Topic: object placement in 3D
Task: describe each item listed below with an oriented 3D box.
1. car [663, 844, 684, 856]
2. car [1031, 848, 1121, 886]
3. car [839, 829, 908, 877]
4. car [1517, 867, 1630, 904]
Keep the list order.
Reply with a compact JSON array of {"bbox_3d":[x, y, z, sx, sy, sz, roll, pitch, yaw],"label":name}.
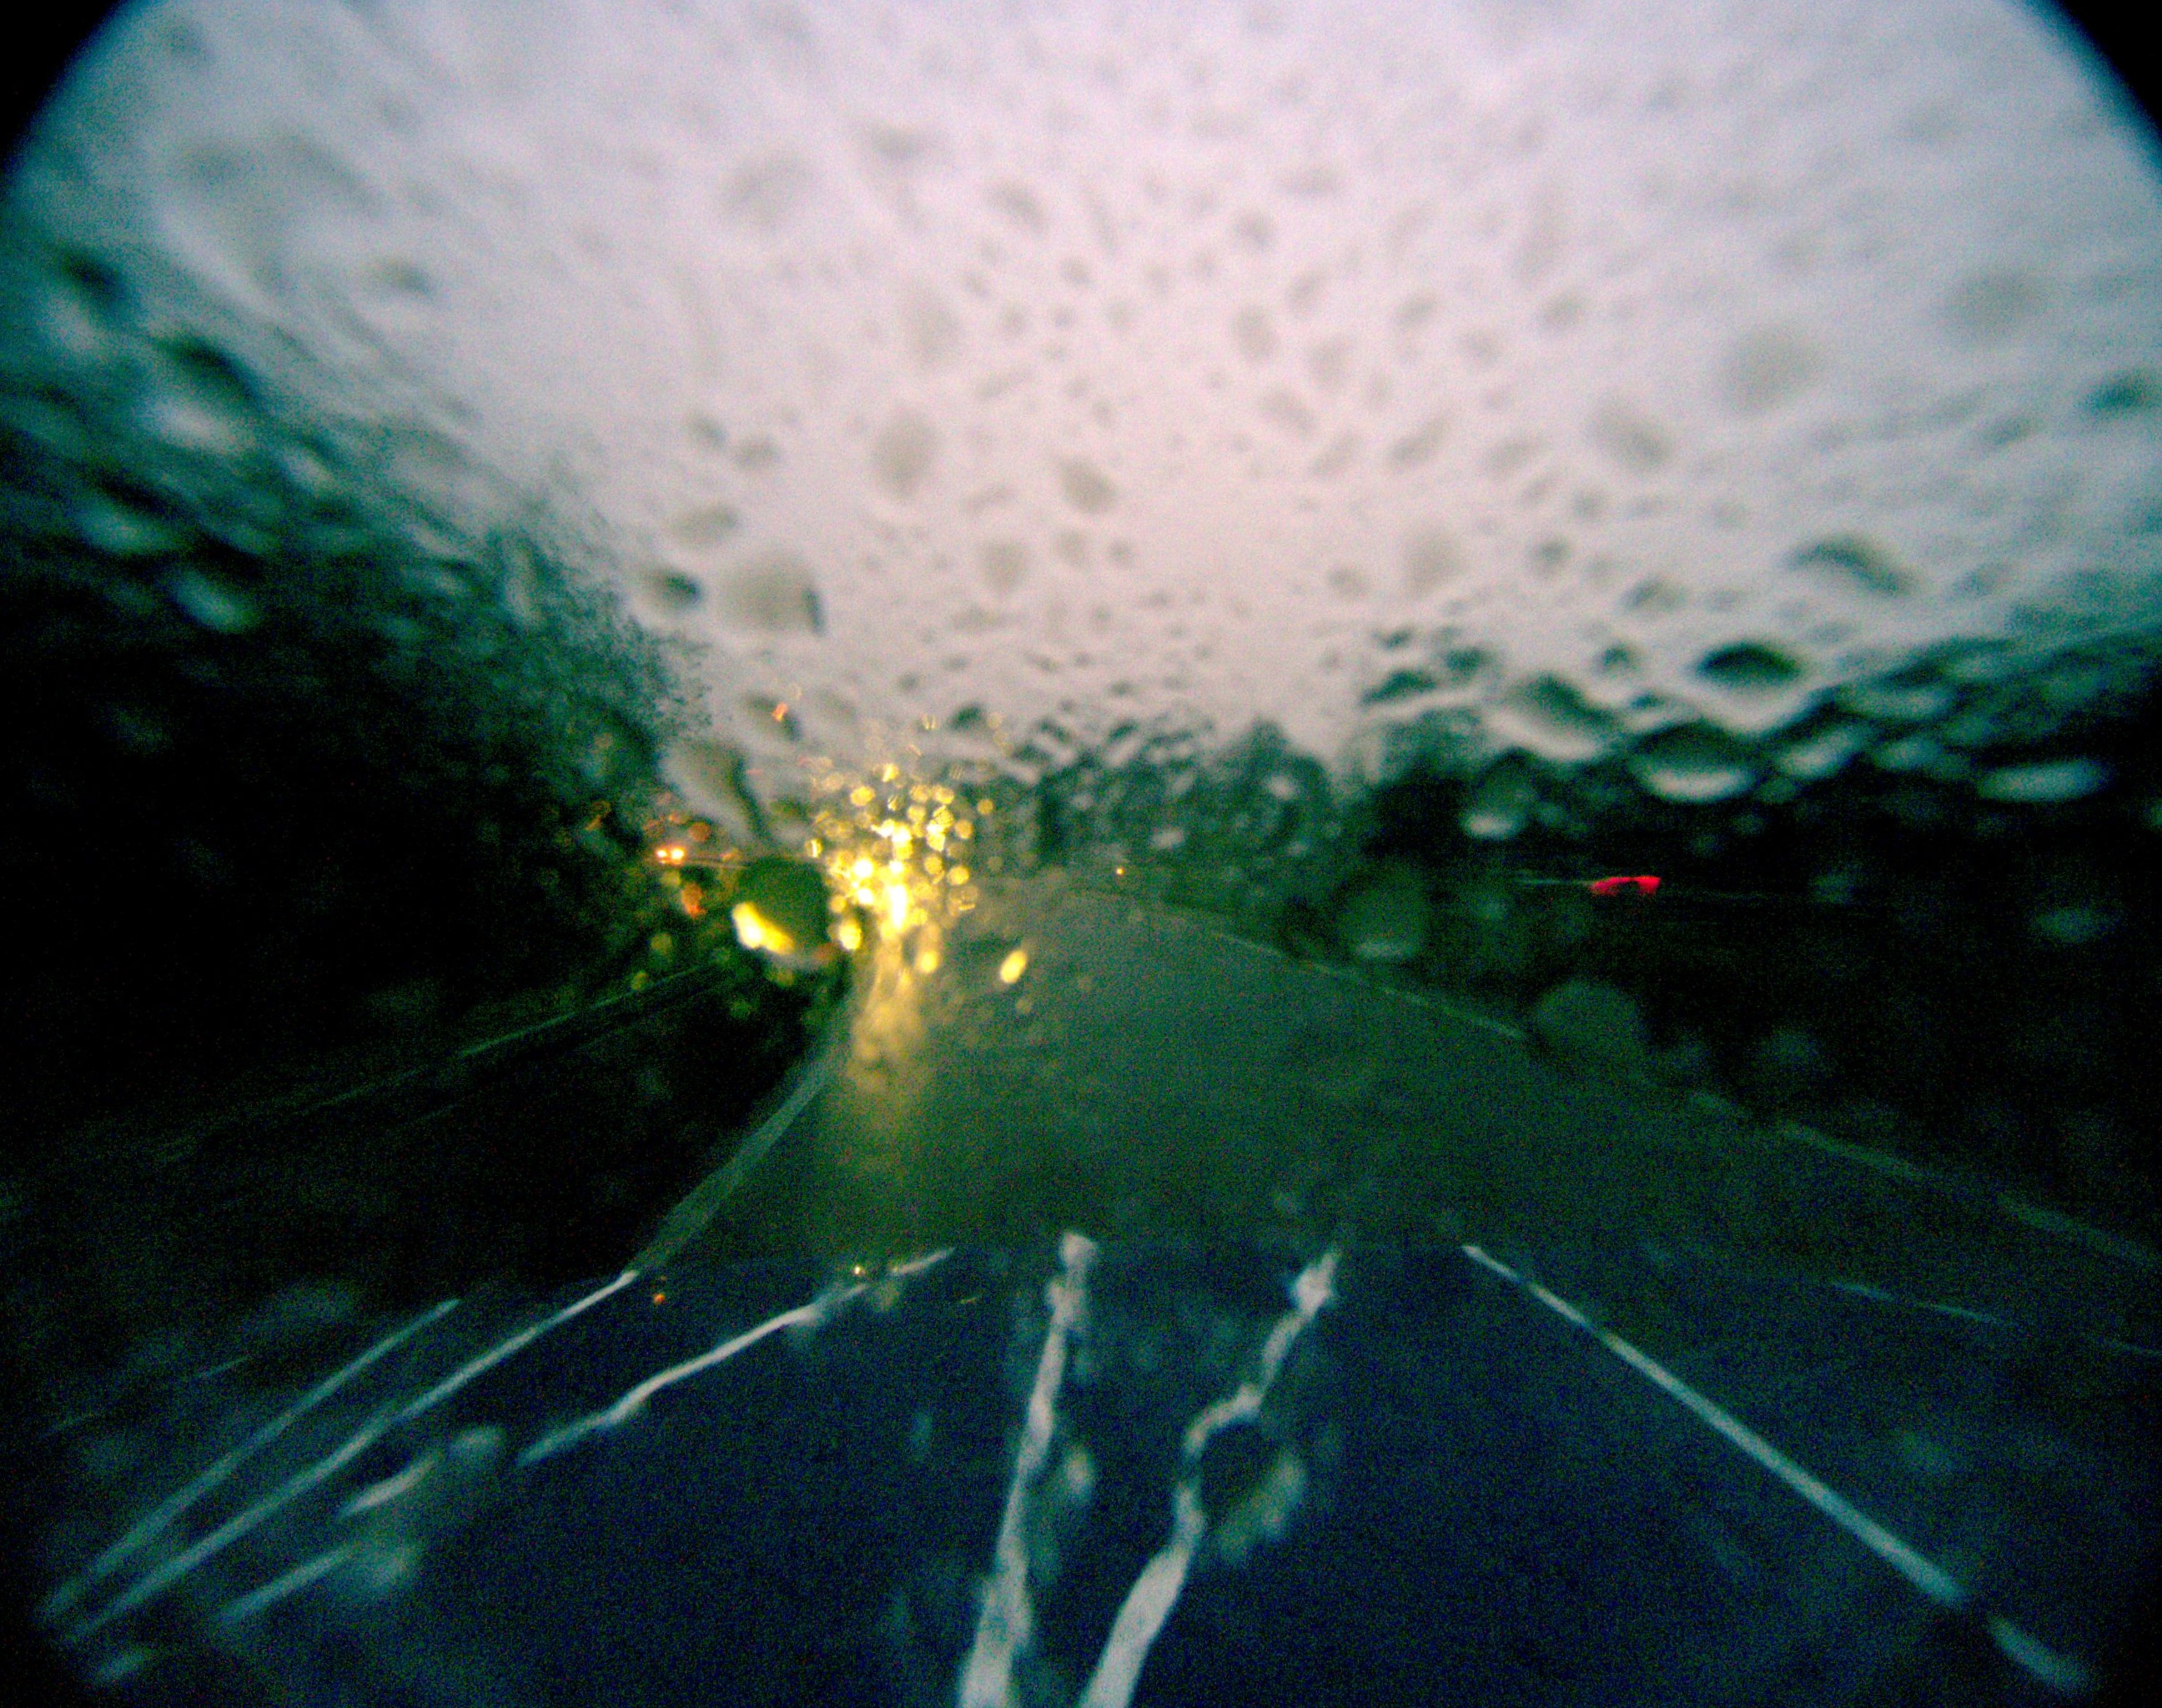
[{"bbox_3d":[-41.341,-0.418,77.049,1.486,1.198,3.340,1,0,-35],"label":"car"},{"bbox_3d":[-0.273,0.512,32.630,1.659,1.502,3.862,1,0,-44],"label":"car"},{"bbox_3d":[-9.665,-0.048,35.202,2.004,2.001,3.953,3,-1,-31],"label":"car"},{"bbox_3d":[22.790,1.423,35.240,2.004,1.548,3.989,-1,0,-42],"label":"car"}]
